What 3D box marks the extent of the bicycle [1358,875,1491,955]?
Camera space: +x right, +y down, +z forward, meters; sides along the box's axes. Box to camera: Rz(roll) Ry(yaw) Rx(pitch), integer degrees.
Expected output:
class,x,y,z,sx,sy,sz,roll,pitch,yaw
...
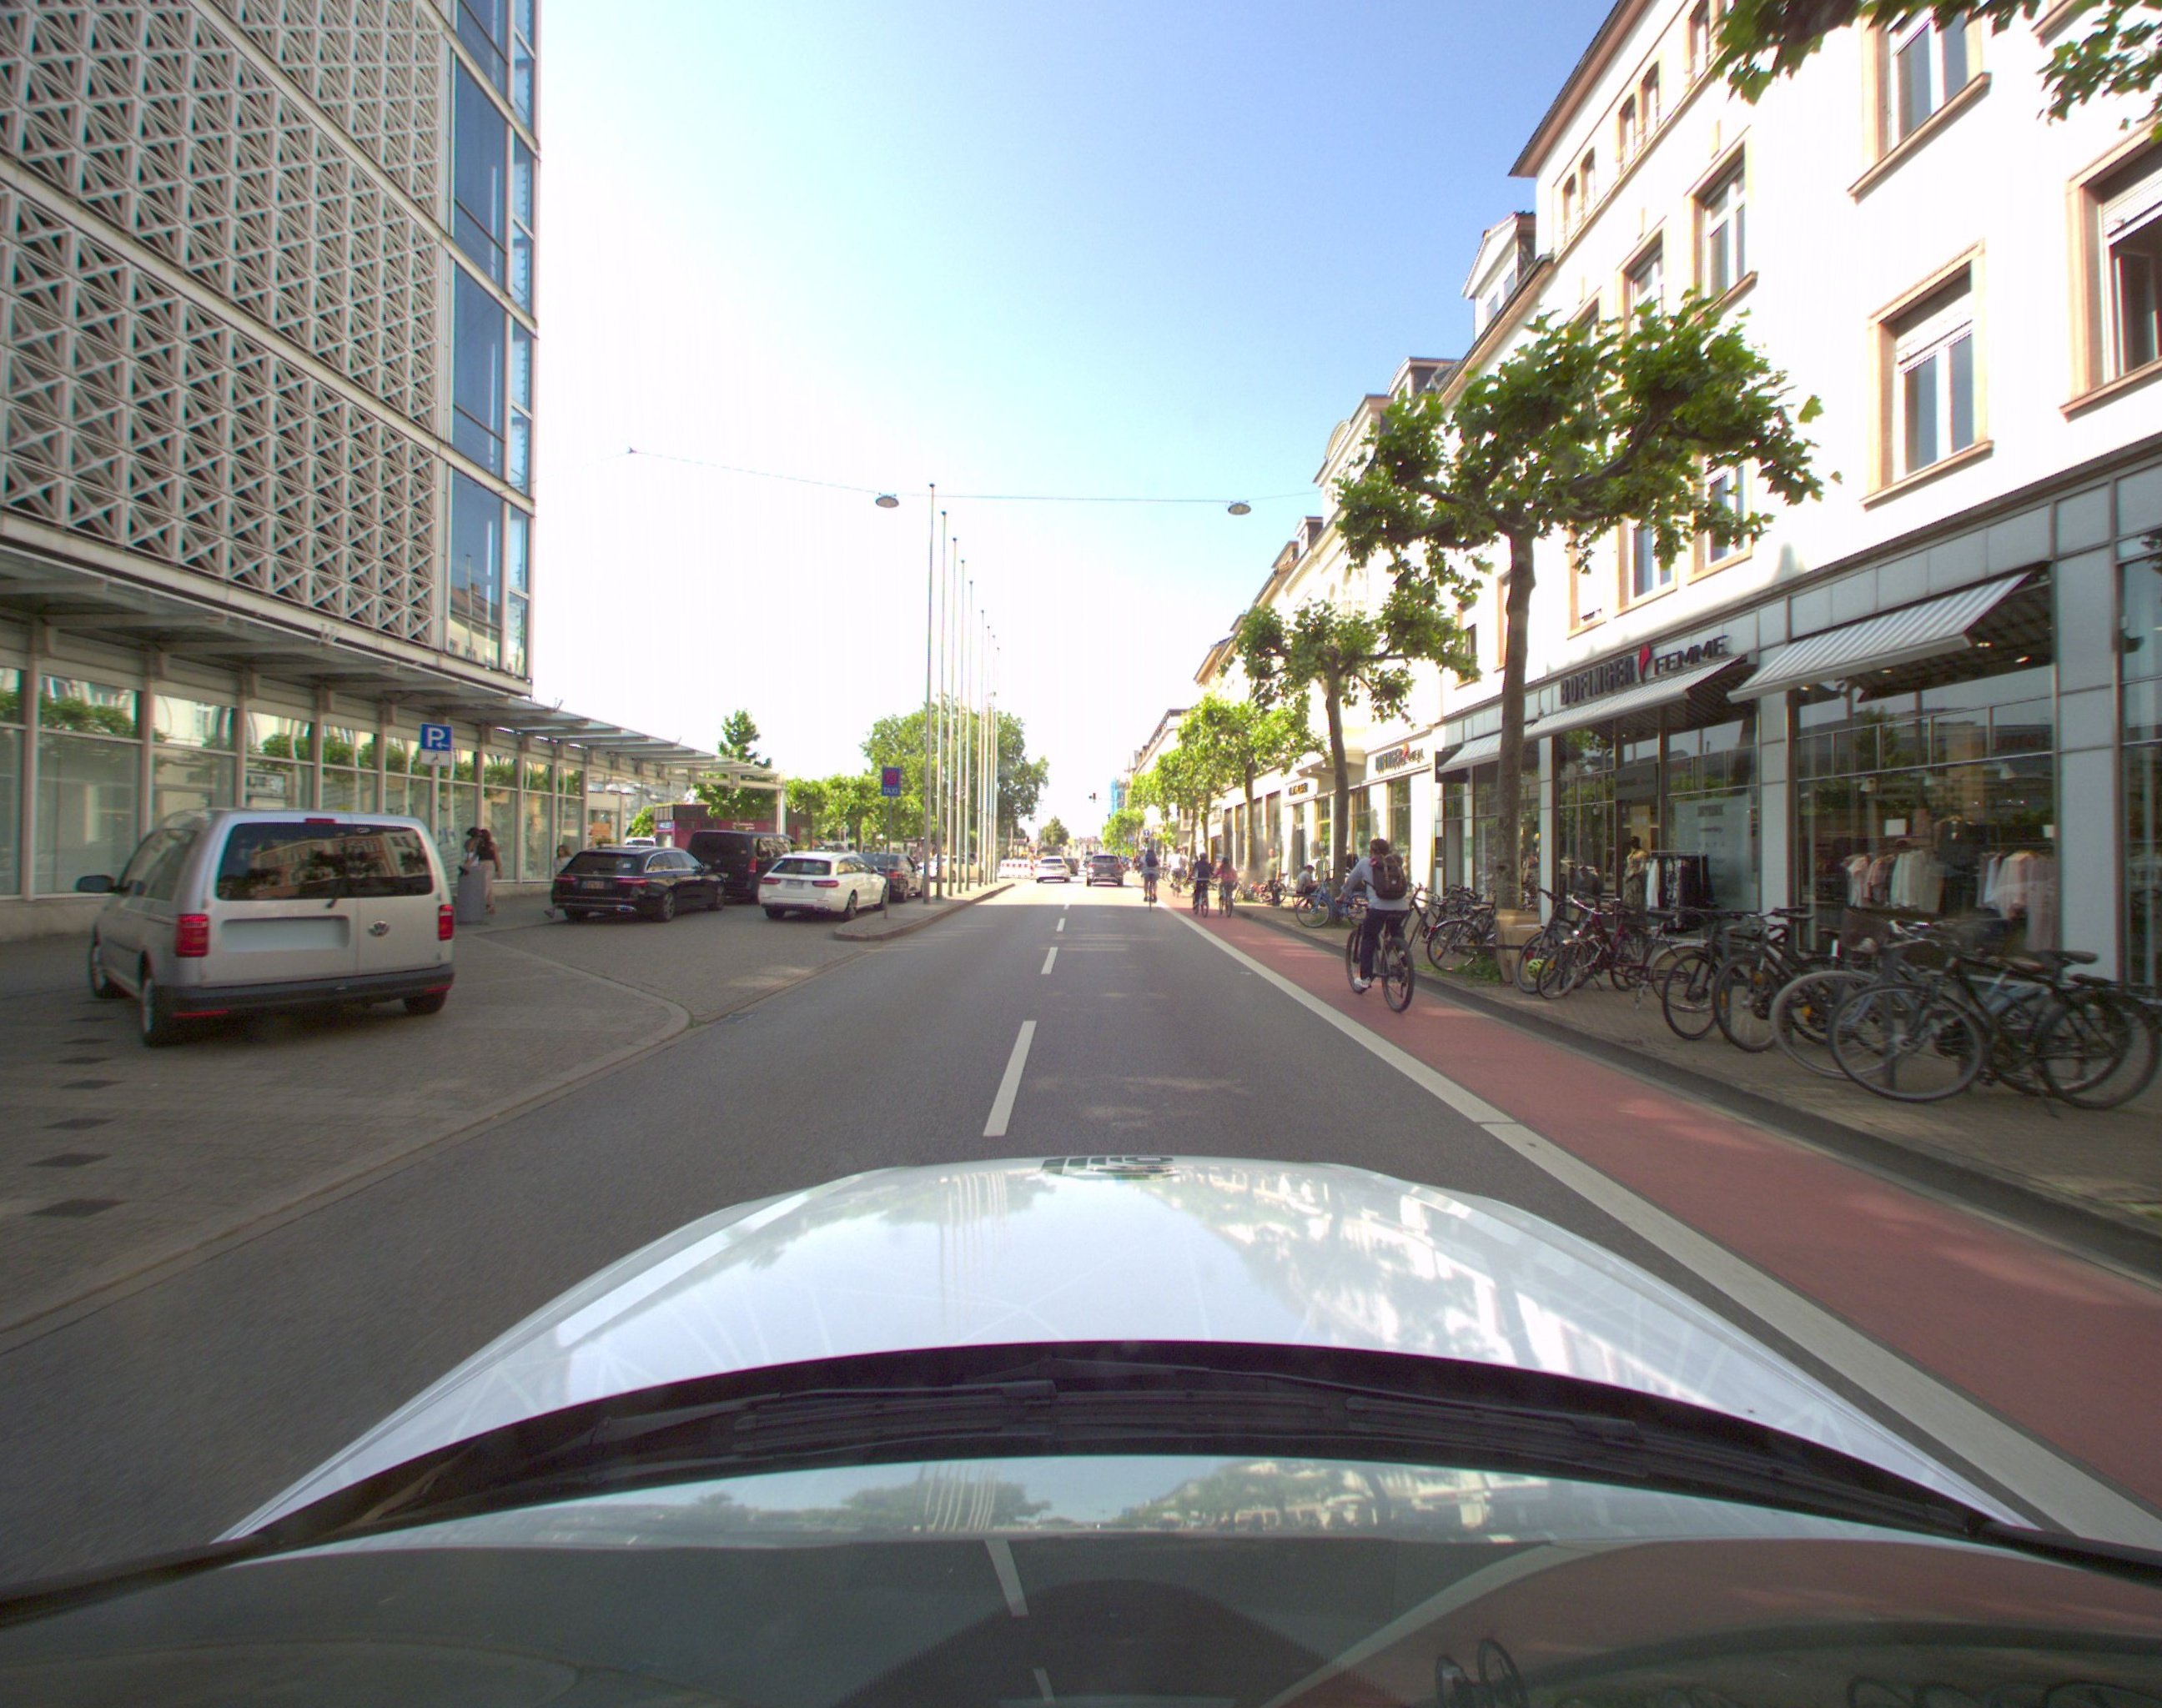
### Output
class,x,y,z,sx,sy,sz,roll,pitch,yaw
bicycle,5.313,0.938,12.609,1.840,1.127,0.630,3,-1,-11

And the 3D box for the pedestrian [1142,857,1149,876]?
class,x,y,z,sx,sy,sz,roll,pitch,yaw
pedestrian,5.535,1.074,70.223,0.546,1.631,0.589,-1,-1,3

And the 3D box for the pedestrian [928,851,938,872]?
class,x,y,z,sx,sy,sz,roll,pitch,yaw
pedestrian,-12.213,0.608,67.271,0.582,1.722,0.789,0,-5,2

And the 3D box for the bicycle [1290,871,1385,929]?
class,x,y,z,sx,sy,sz,roll,pitch,yaw
bicycle,5.368,0.958,17.063,1.839,1.127,0.496,3,1,-8

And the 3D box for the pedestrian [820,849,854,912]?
class,x,y,z,sx,sy,sz,roll,pitch,yaw
pedestrian,-7.115,0.766,23.773,0.612,1.792,0.697,0,-1,39

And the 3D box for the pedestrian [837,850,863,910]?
class,x,y,z,sx,sy,sz,roll,pitch,yaw
pedestrian,-6.982,0.769,24.603,0.526,1.792,0.542,0,-1,39

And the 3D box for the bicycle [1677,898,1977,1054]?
class,x,y,z,sx,sy,sz,roll,pitch,yaw
bicycle,5.679,0.912,6.256,1.832,1.127,0.448,0,-2,2

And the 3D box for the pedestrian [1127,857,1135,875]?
class,x,y,z,sx,sy,sz,roll,pitch,yaw
pedestrian,4.947,1.211,81.165,0.608,1.739,0.677,-4,-1,-2

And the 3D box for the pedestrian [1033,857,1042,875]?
class,x,y,z,sx,sy,sz,roll,pitch,yaw
pedestrian,-4.054,1.107,75.477,0.627,1.595,0.690,0,-1,21

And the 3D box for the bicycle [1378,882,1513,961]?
class,x,y,z,sx,sy,sz,roll,pitch,yaw
bicycle,5.410,0.998,12.110,1.840,1.093,0.562,2,-1,-11

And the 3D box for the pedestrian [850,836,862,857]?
class,x,y,z,sx,sy,sz,roll,pitch,yaw
pedestrian,-19.296,-0.612,69.862,0.598,1.749,0.808,0,-2,31

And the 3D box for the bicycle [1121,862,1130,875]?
class,x,y,z,sx,sy,sz,roll,pitch,yaw
bicycle,3.673,1.216,67.656,0.645,0.998,2.030,0,0,0

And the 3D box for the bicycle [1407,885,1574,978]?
class,x,y,z,sx,sy,sz,roll,pitch,yaw
bicycle,5.198,0.970,10.394,1.834,1.093,0.564,2,-1,0

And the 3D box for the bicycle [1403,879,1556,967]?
class,x,y,z,sx,sy,sz,roll,pitch,yaw
bicycle,5.546,0.952,11.370,1.842,1.127,0.762,3,-2,-13

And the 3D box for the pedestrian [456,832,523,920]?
class,x,y,z,sx,sy,sz,roll,pitch,yaw
pedestrian,-11.532,0.417,15.895,0.785,1.660,0.640,2,0,-3

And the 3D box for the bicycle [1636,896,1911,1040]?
class,x,y,z,sx,sy,sz,roll,pitch,yaw
bicycle,5.662,0.915,6.715,1.832,1.127,0.448,0,-2,2

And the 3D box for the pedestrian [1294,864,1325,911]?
class,x,y,z,sx,sy,sz,roll,pitch,yaw
pedestrian,6.094,0.893,21.702,0.637,1.233,0.596,1,-2,-3

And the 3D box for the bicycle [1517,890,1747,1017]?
class,x,y,z,sx,sy,sz,roll,pitch,yaw
bicycle,5.331,0.929,8.012,1.823,1.127,0.451,-1,-2,28

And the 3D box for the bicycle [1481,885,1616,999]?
class,x,y,z,sx,sy,sz,roll,pitch,yaw
bicycle,5.217,0.922,9.040,1.854,1.127,0.587,1,-2,-36

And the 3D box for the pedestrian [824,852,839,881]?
class,x,y,z,sx,sy,sz,roll,pitch,yaw
pedestrian,-14.634,0.724,47.735,0.670,1.677,0.685,1,-1,-8

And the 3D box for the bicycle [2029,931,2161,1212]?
class,x,y,z,sx,sy,sz,roll,pitch,yaw
bicycle,5.390,0.915,3.476,1.833,1.127,0.680,0,-2,1

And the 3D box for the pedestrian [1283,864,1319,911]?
class,x,y,z,sx,sy,sz,roll,pitch,yaw
pedestrian,6.000,0.909,22.221,0.785,1.243,0.575,1,-2,-3

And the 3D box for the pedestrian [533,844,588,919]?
class,x,y,z,sx,sy,sz,roll,pitch,yaw
pedestrian,-10.335,0.550,16.188,0.591,1.437,0.640,3,-2,-3

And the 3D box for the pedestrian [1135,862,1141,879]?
class,x,y,z,sx,sy,sz,roll,pitch,yaw
pedestrian,5.130,1.491,72.837,0.520,1.521,0.642,-1,-1,3

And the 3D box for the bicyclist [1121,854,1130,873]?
class,x,y,z,sx,sy,sz,roll,pitch,yaw
bicyclist,3.681,0.805,67.601,0.645,1.551,0.817,1,-1,0

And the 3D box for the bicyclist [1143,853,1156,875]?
class,x,y,z,sx,sy,sz,roll,pitch,yaw
bicyclist,5.592,0.835,66.189,0.577,1.797,0.848,-2,0,-35

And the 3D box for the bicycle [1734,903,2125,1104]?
class,x,y,z,sx,sy,sz,roll,pitch,yaw
bicycle,5.576,0.945,5.454,1.828,1.127,0.532,2,-1,12

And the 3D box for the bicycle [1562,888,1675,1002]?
class,x,y,z,sx,sy,sz,roll,pitch,yaw
bicycle,5.962,0.950,8.995,1.854,1.127,0.443,1,-2,-37

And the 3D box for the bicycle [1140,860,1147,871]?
class,x,y,z,sx,sy,sz,roll,pitch,yaw
bicycle,6.971,1.256,90.603,0.396,1.114,1.432,-1,0,21

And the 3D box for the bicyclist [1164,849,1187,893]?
class,x,y,z,sx,sy,sz,roll,pitch,yaw
bicyclist,3.562,0.627,30.853,0.772,1.635,0.851,0,0,0

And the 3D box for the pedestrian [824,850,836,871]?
class,x,y,z,sx,sy,sz,roll,pitch,yaw
pedestrian,-18.784,0.481,60.925,0.573,1.532,0.607,2,-1,6

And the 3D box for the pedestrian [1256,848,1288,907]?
class,x,y,z,sx,sy,sz,roll,pitch,yaw
pedestrian,5.634,0.684,24.031,0.637,1.689,0.843,3,0,-3

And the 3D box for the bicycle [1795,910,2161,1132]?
class,x,y,z,sx,sy,sz,roll,pitch,yaw
bicycle,5.560,0.917,4.740,1.972,1.127,0.764,0,-2,12

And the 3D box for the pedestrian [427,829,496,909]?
class,x,y,z,sx,sy,sz,roll,pitch,yaw
pedestrian,-13.296,0.309,17.503,0.594,1.662,1.107,0,0,1

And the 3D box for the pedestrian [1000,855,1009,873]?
class,x,y,z,sx,sy,sz,roll,pitch,yaw
pedestrian,-7.616,0.979,81.111,0.627,1.810,0.734,0,-1,21

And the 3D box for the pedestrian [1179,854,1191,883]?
class,x,y,z,sx,sy,sz,roll,pitch,yaw
pedestrian,5.796,0.790,45.462,0.613,1.612,0.745,1,-1,1

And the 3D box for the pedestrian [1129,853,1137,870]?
class,x,y,z,sx,sy,sz,roll,pitch,yaw
pedestrian,4.944,0.726,78.042,0.608,1.515,0.677,-4,-1,-2

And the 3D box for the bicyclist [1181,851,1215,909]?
class,x,y,z,sx,sy,sz,roll,pitch,yaw
bicyclist,2.976,0.653,20.798,0.697,1.441,0.789,2,-1,-4

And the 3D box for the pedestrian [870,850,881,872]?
class,x,y,z,sx,sy,sz,roll,pitch,yaw
pedestrian,-16.262,0.556,64.526,0.573,1.739,0.607,2,-1,6

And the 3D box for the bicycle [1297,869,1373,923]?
class,x,y,z,sx,sy,sz,roll,pitch,yaw
bicycle,5.853,0.954,18.732,1.784,1.197,0.572,1,-1,-28

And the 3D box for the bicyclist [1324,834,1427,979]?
class,x,y,z,sx,sy,sz,roll,pitch,yaw
bicyclist,3.122,0.535,8.711,0.697,1.446,0.960,2,-1,-3

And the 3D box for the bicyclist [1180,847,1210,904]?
class,x,y,z,sx,sy,sz,roll,pitch,yaw
bicyclist,3.109,0.588,22.219,0.628,1.481,1.197,1,-2,-1

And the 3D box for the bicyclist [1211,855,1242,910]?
class,x,y,z,sx,sy,sz,roll,pitch,yaw
bicyclist,3.733,0.718,20.919,0.599,1.357,0.720,-1,0,-4
